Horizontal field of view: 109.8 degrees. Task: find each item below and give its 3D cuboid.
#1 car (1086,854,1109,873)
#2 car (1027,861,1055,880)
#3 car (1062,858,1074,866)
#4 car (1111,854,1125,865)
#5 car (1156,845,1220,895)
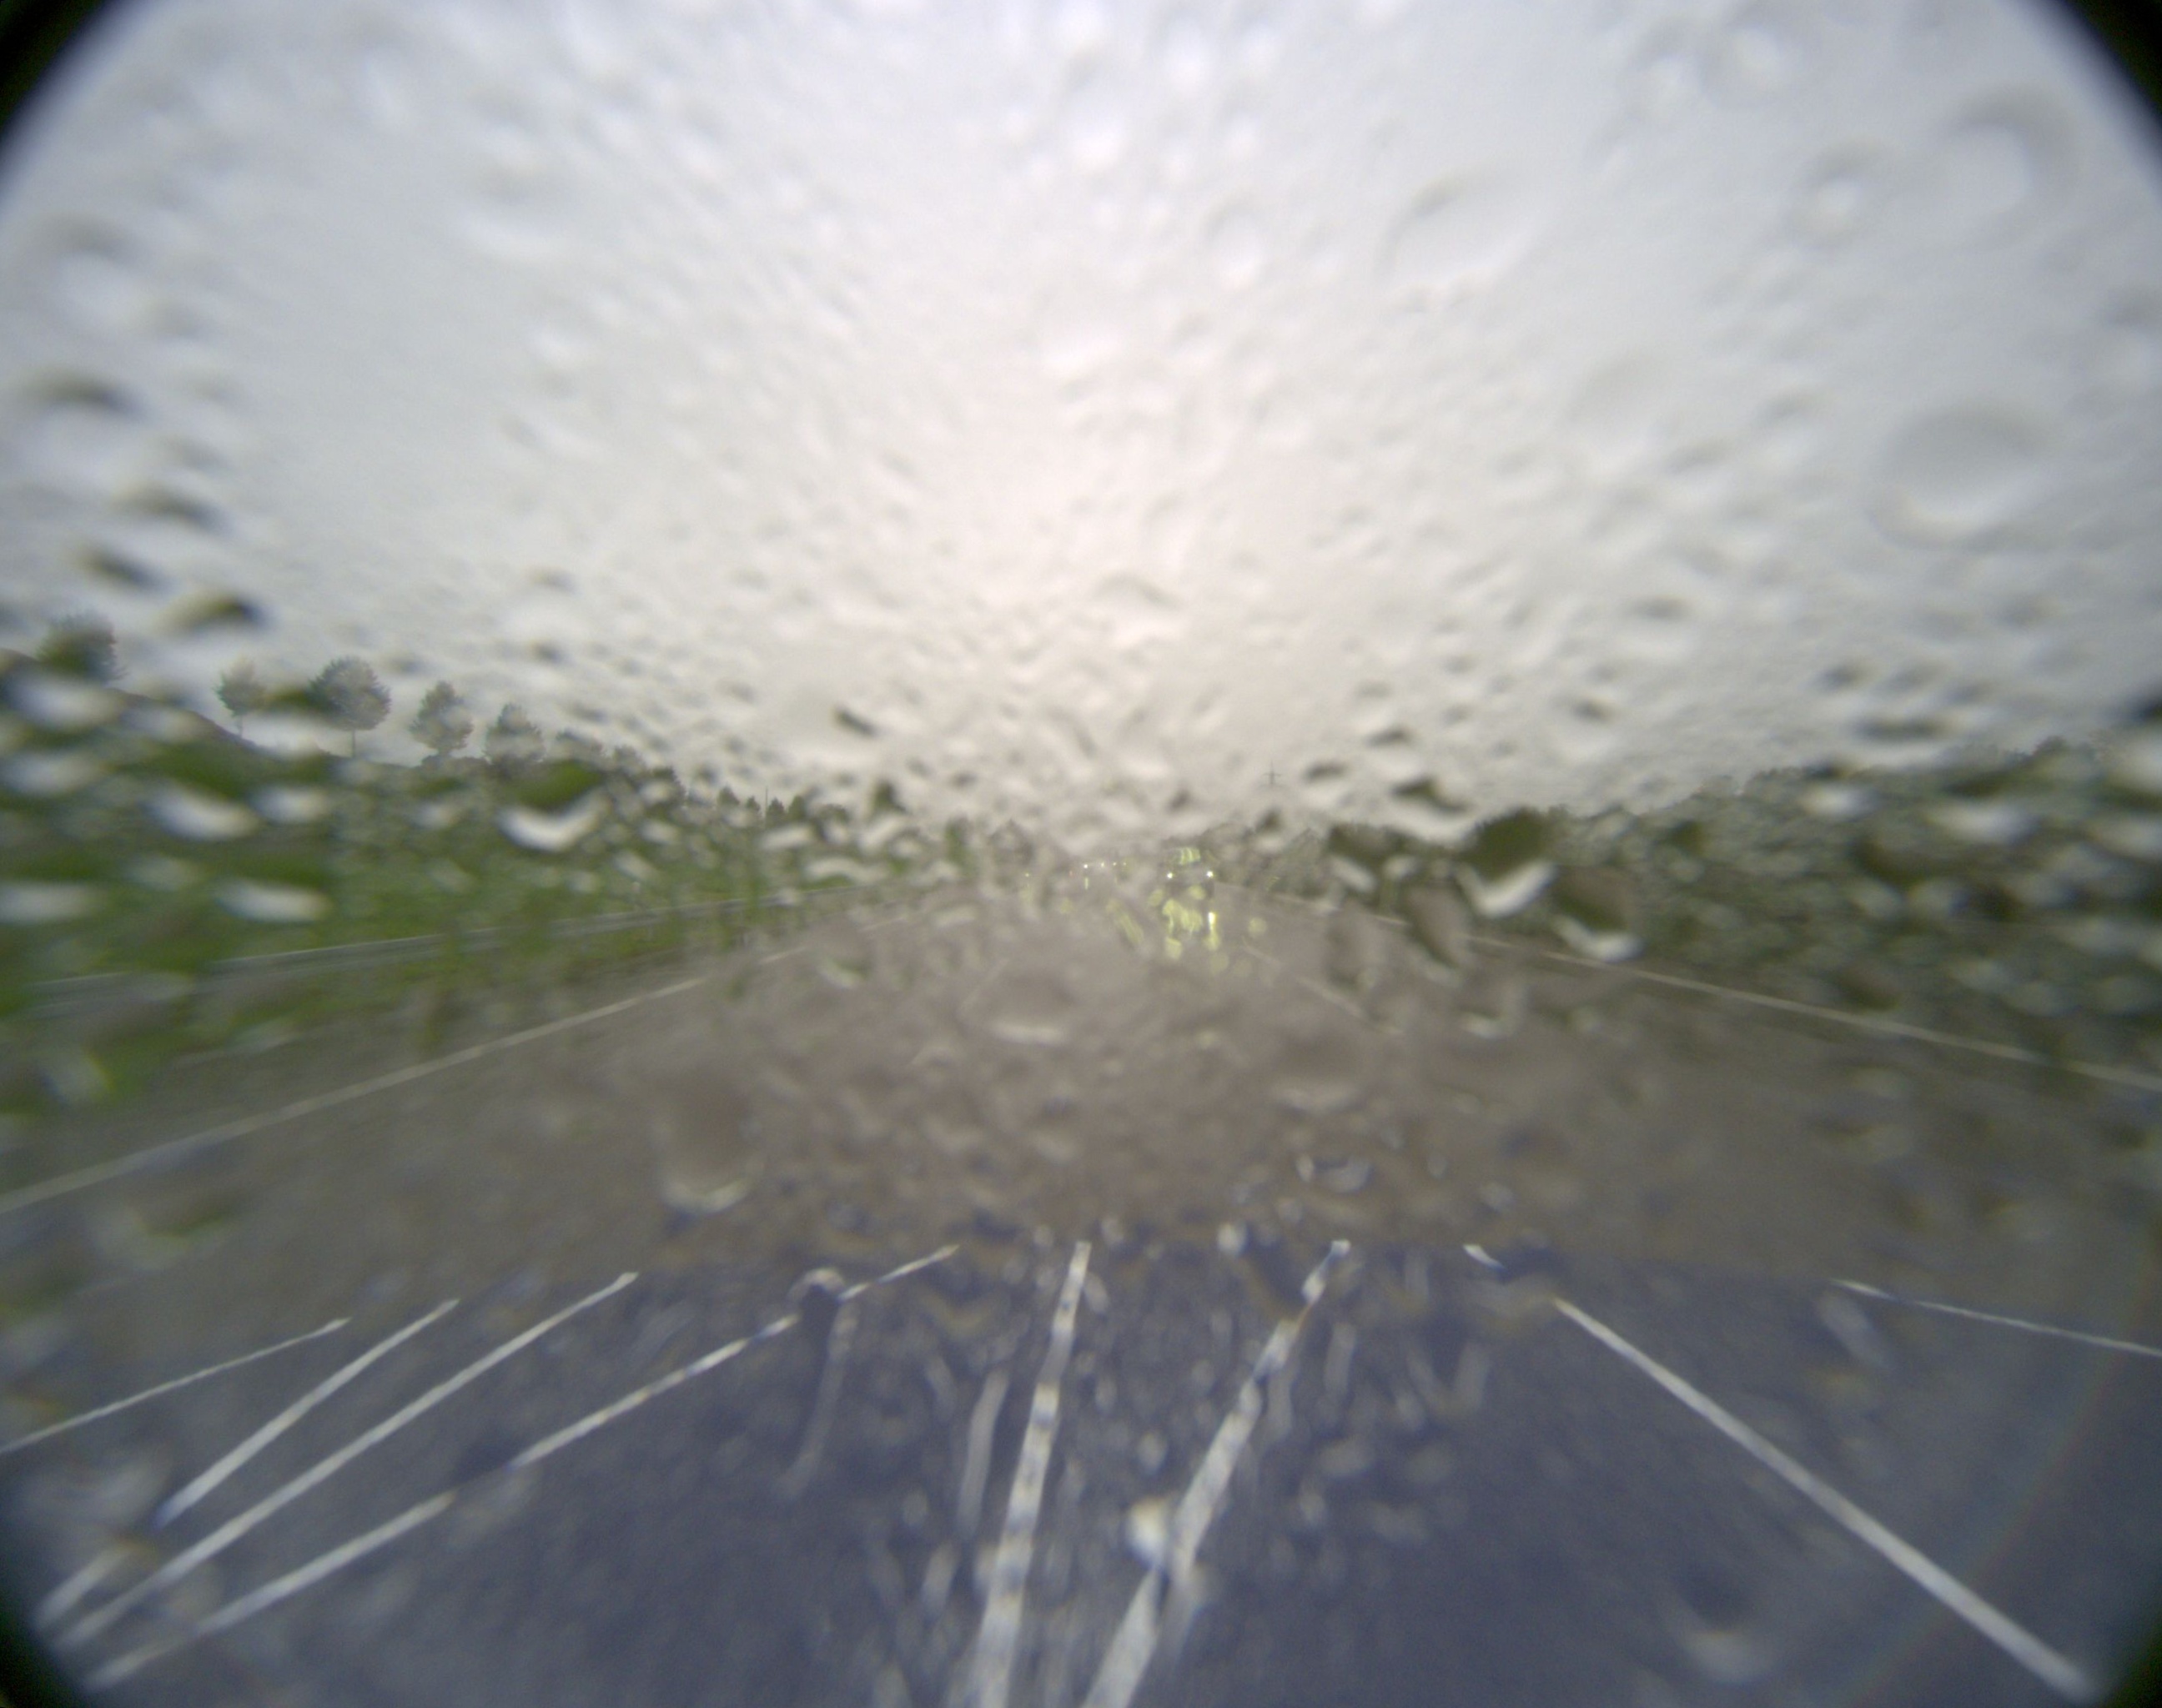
[{"bbox_3d":[1.349,0.755,63.035,1.753,1.406,4.000,-3,0,1],"label":"car"},{"bbox_3d":[-2.980,1.239,57.247,1.753,1.205,4.000,-3,0,1],"label":"car"},{"bbox_3d":[-2.015,1.245,118.294,1.753,1.205,4.000,-3,0,1],"label":"car"},{"bbox_3d":[5.063,0.753,103.750,1.753,1.369,4.000,-3,0,1],"label":"car"},{"bbox_3d":[4.101,0.567,29.821,2.047,1.763,4.501,-2,0,3],"label":"car"}]
